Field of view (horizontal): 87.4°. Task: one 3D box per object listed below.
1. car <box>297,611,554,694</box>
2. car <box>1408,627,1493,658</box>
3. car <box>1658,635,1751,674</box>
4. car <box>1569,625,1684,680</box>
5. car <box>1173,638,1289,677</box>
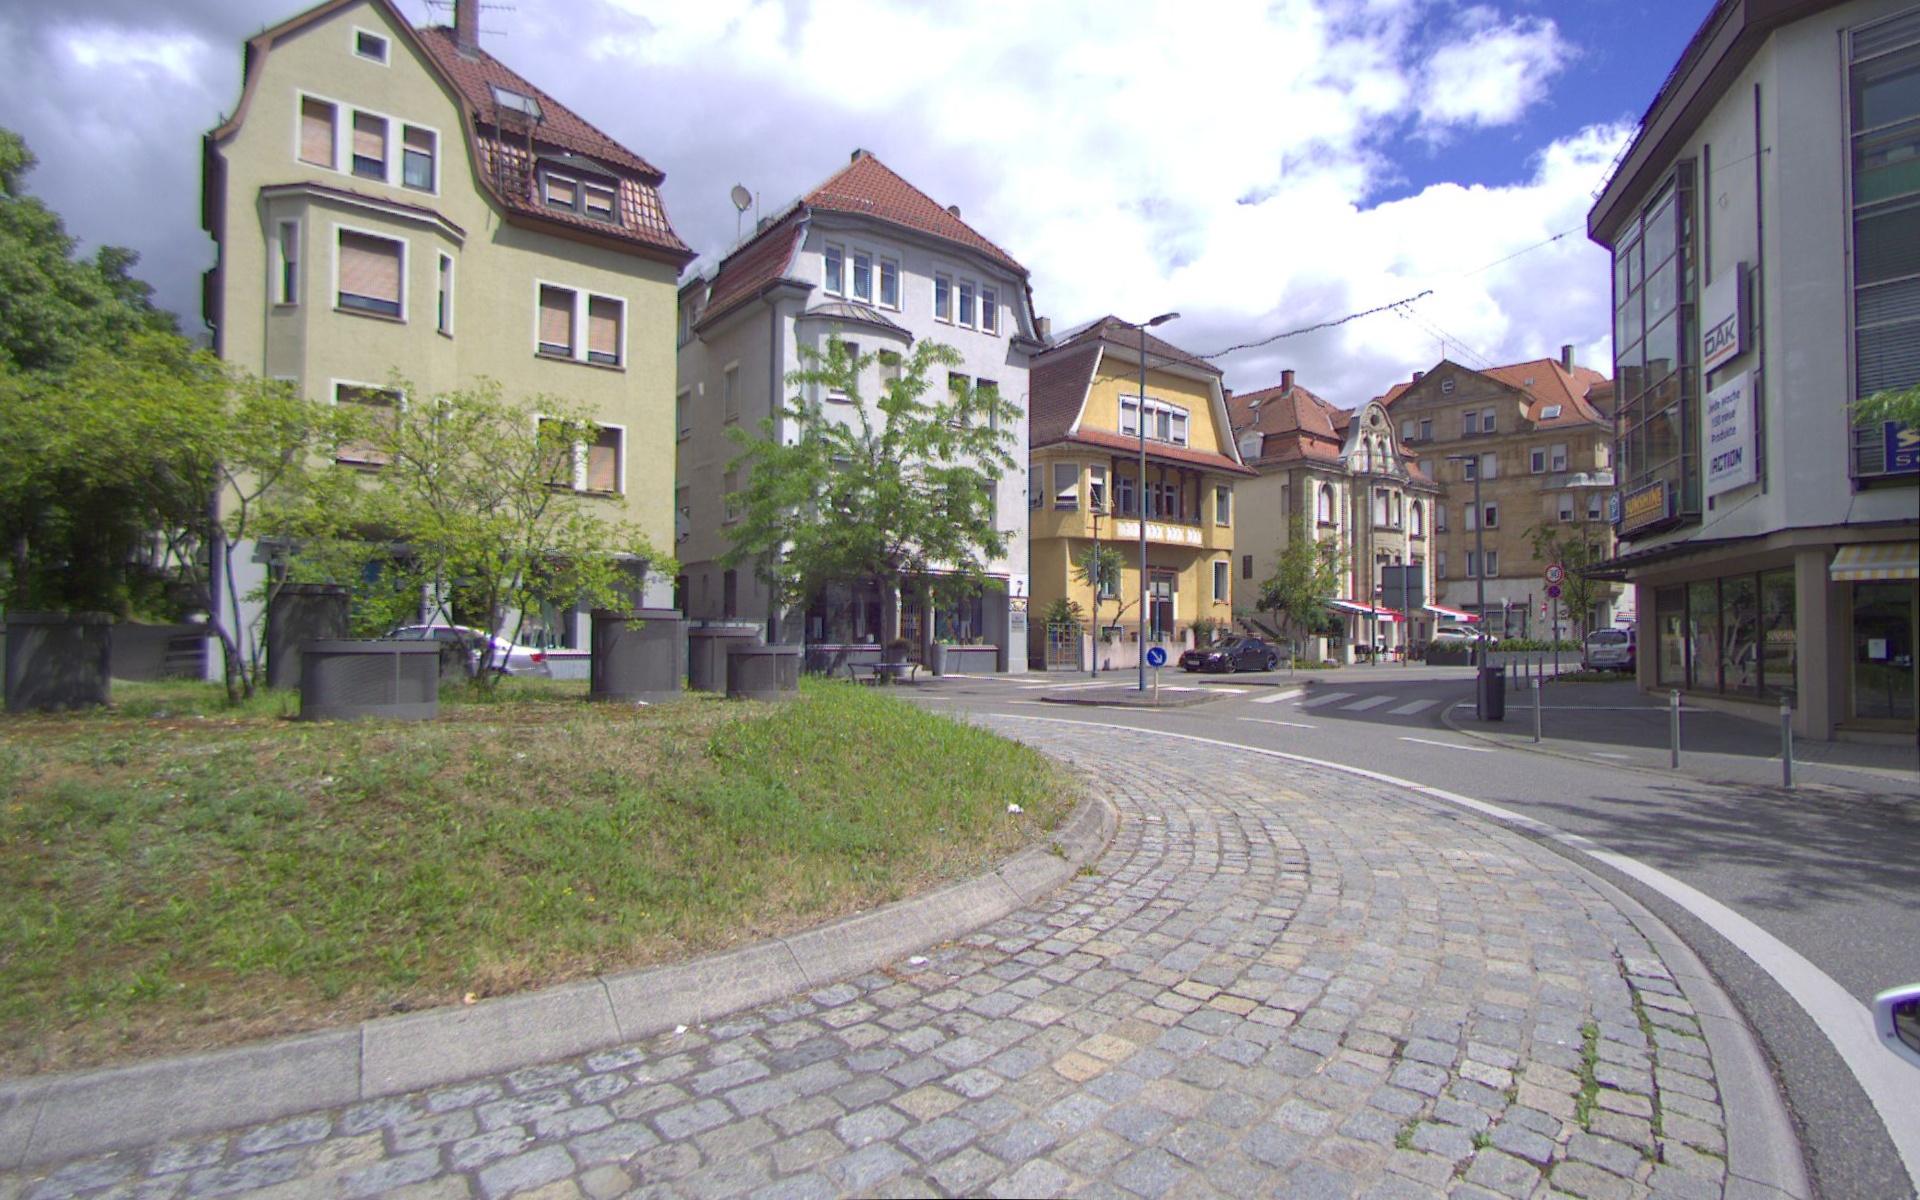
[{"bbox_3d":[-9.657,0.920,18.316,3.955,1.372,1.701,1,-2,-32],"label":"car"},{"bbox_3d":[29.881,2.558,61.200,4.363,1.799,1.992,-1,-2,38],"label":"car"},{"bbox_3d":[31.289,2.280,42.182,4.189,1.539,1.814,2,-3,-34],"label":"car"},{"bbox_3d":[22.912,1.791,34.520,4.189,1.753,1.814,2,-3,-34],"label":"car"},{"bbox_3d":[9.813,2.051,36.274,4.368,1.262,1.698,1,-1,-36],"label":"car"}]
